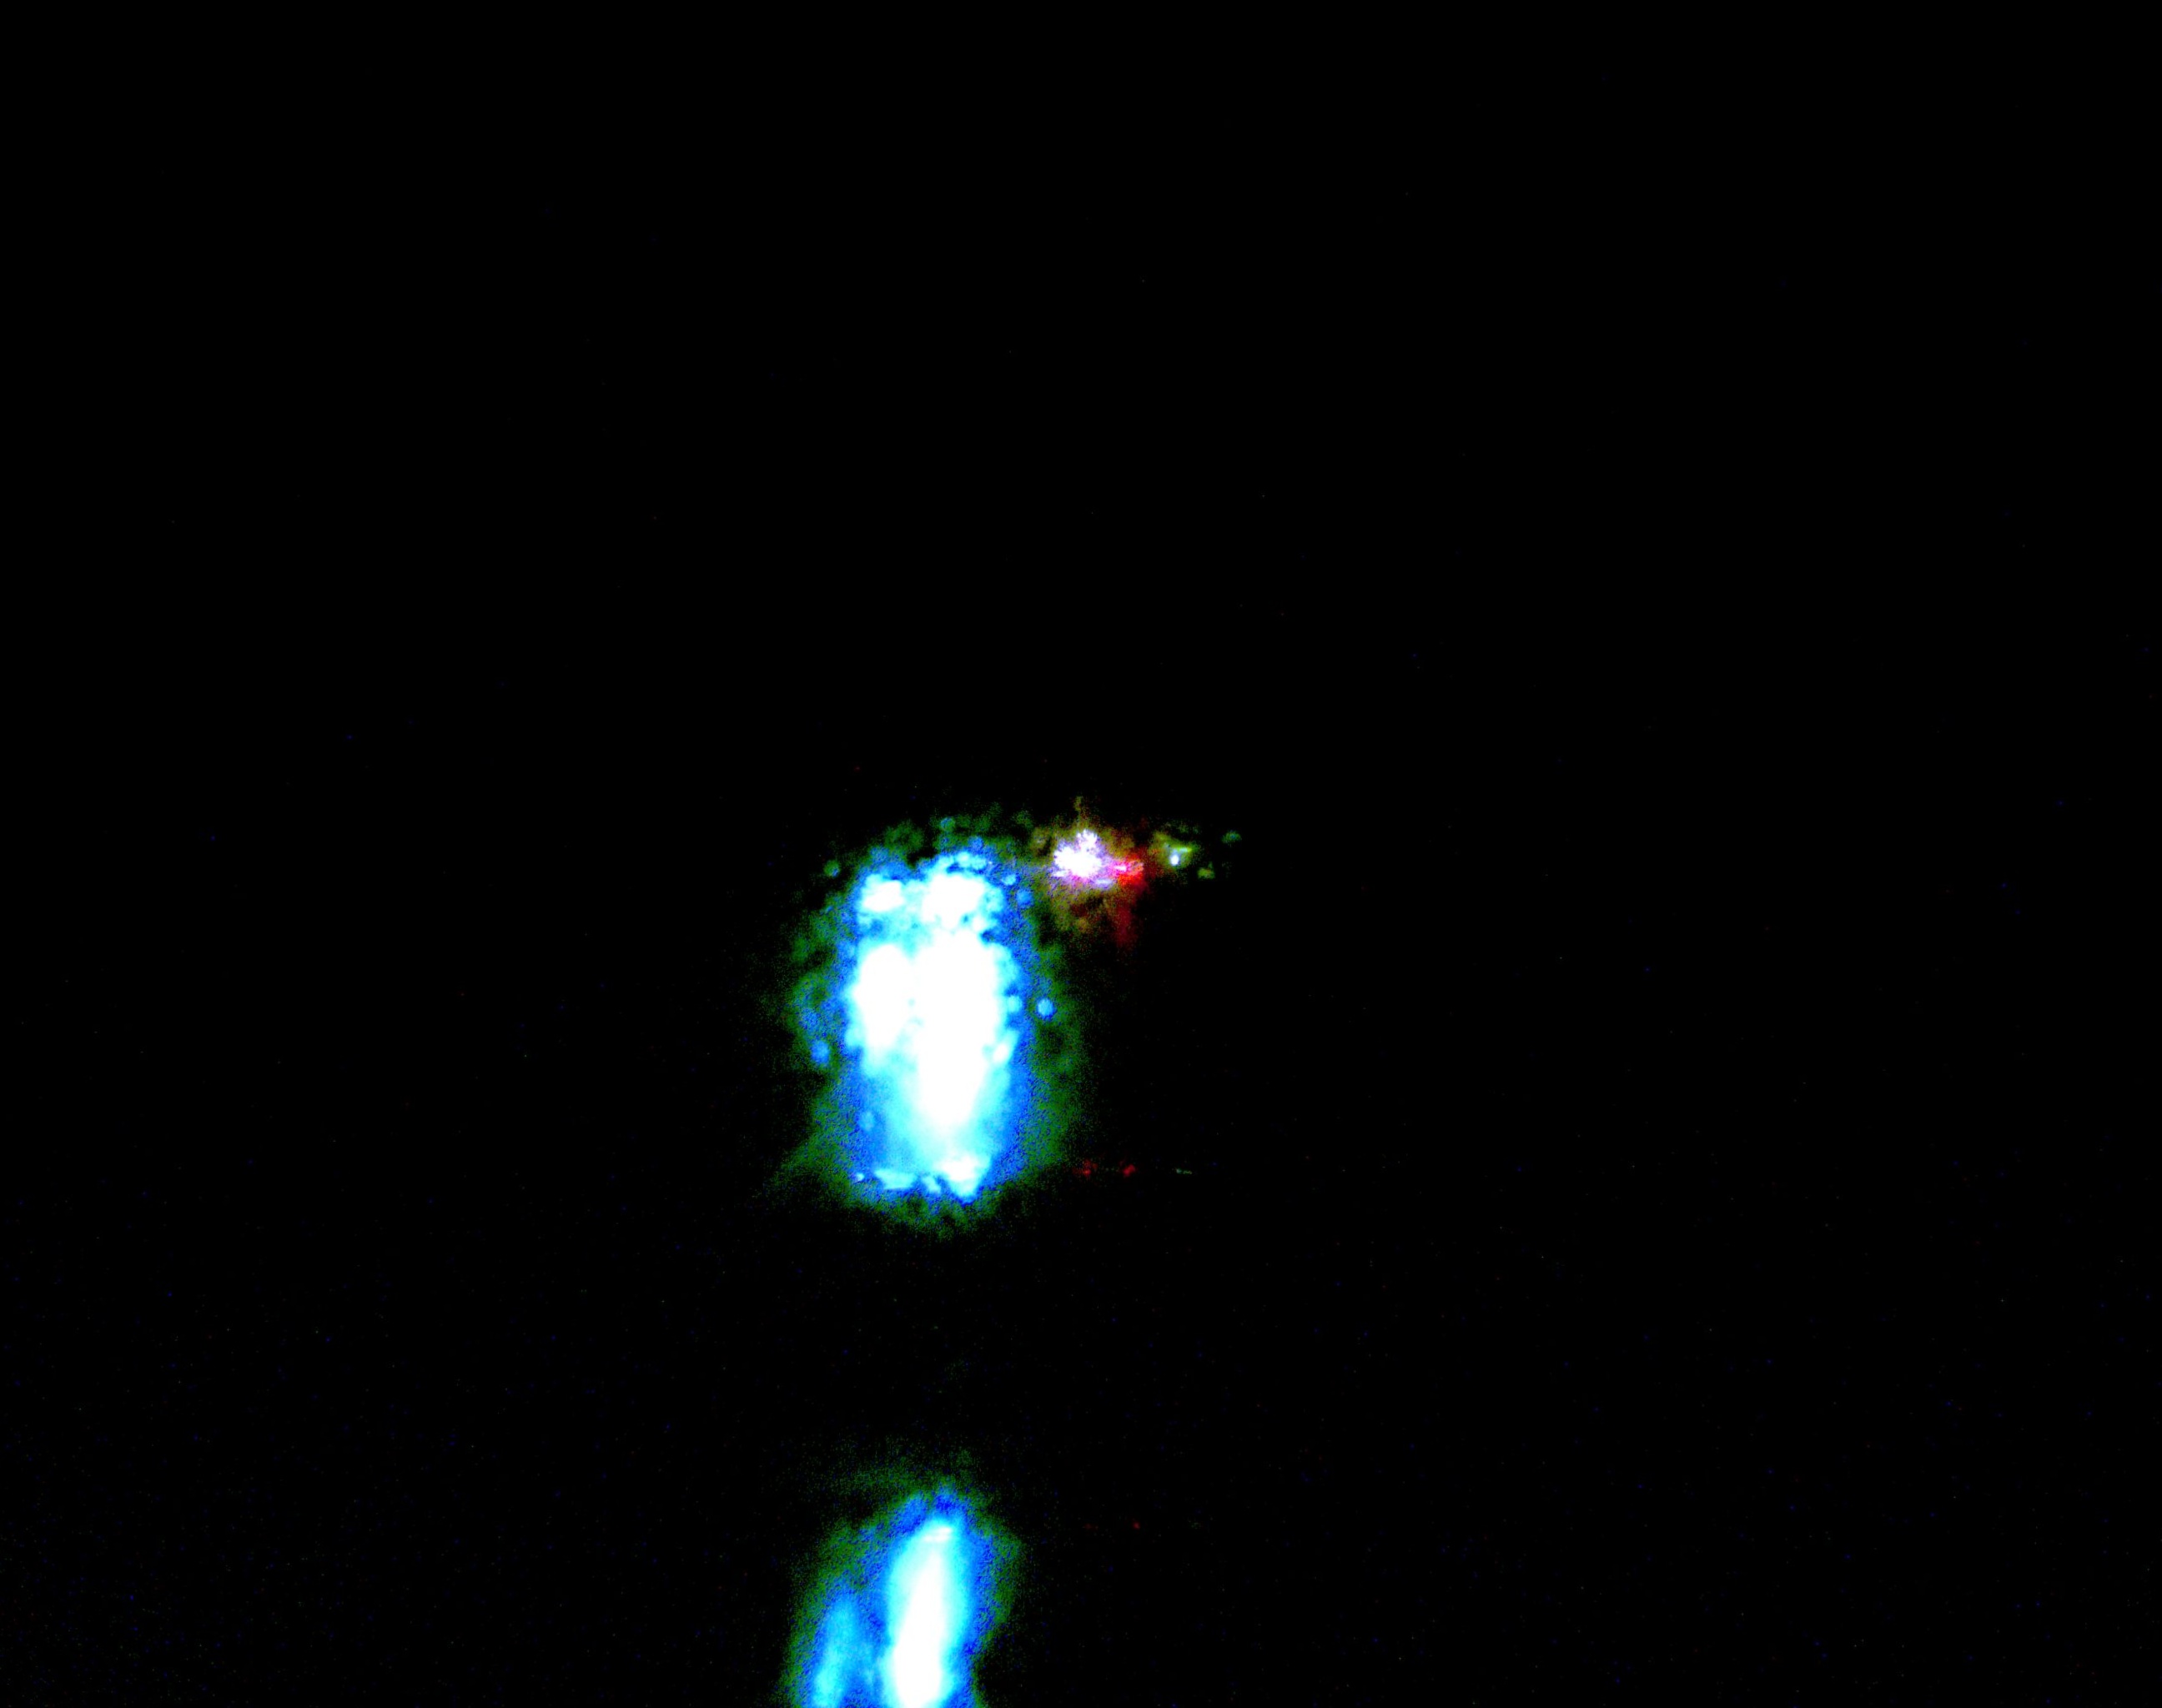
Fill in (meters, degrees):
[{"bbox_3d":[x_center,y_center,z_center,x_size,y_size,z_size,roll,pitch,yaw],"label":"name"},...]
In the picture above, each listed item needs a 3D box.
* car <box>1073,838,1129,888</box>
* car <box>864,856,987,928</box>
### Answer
[{"bbox_3d":[0.684,0.298,28.724,1.802,1.622,4.000,-1,-1,0],"label":"car"},{"bbox_3d":[-3.444,0.792,18.883,1.987,1.474,4.276,0,0,0],"label":"car"}]
